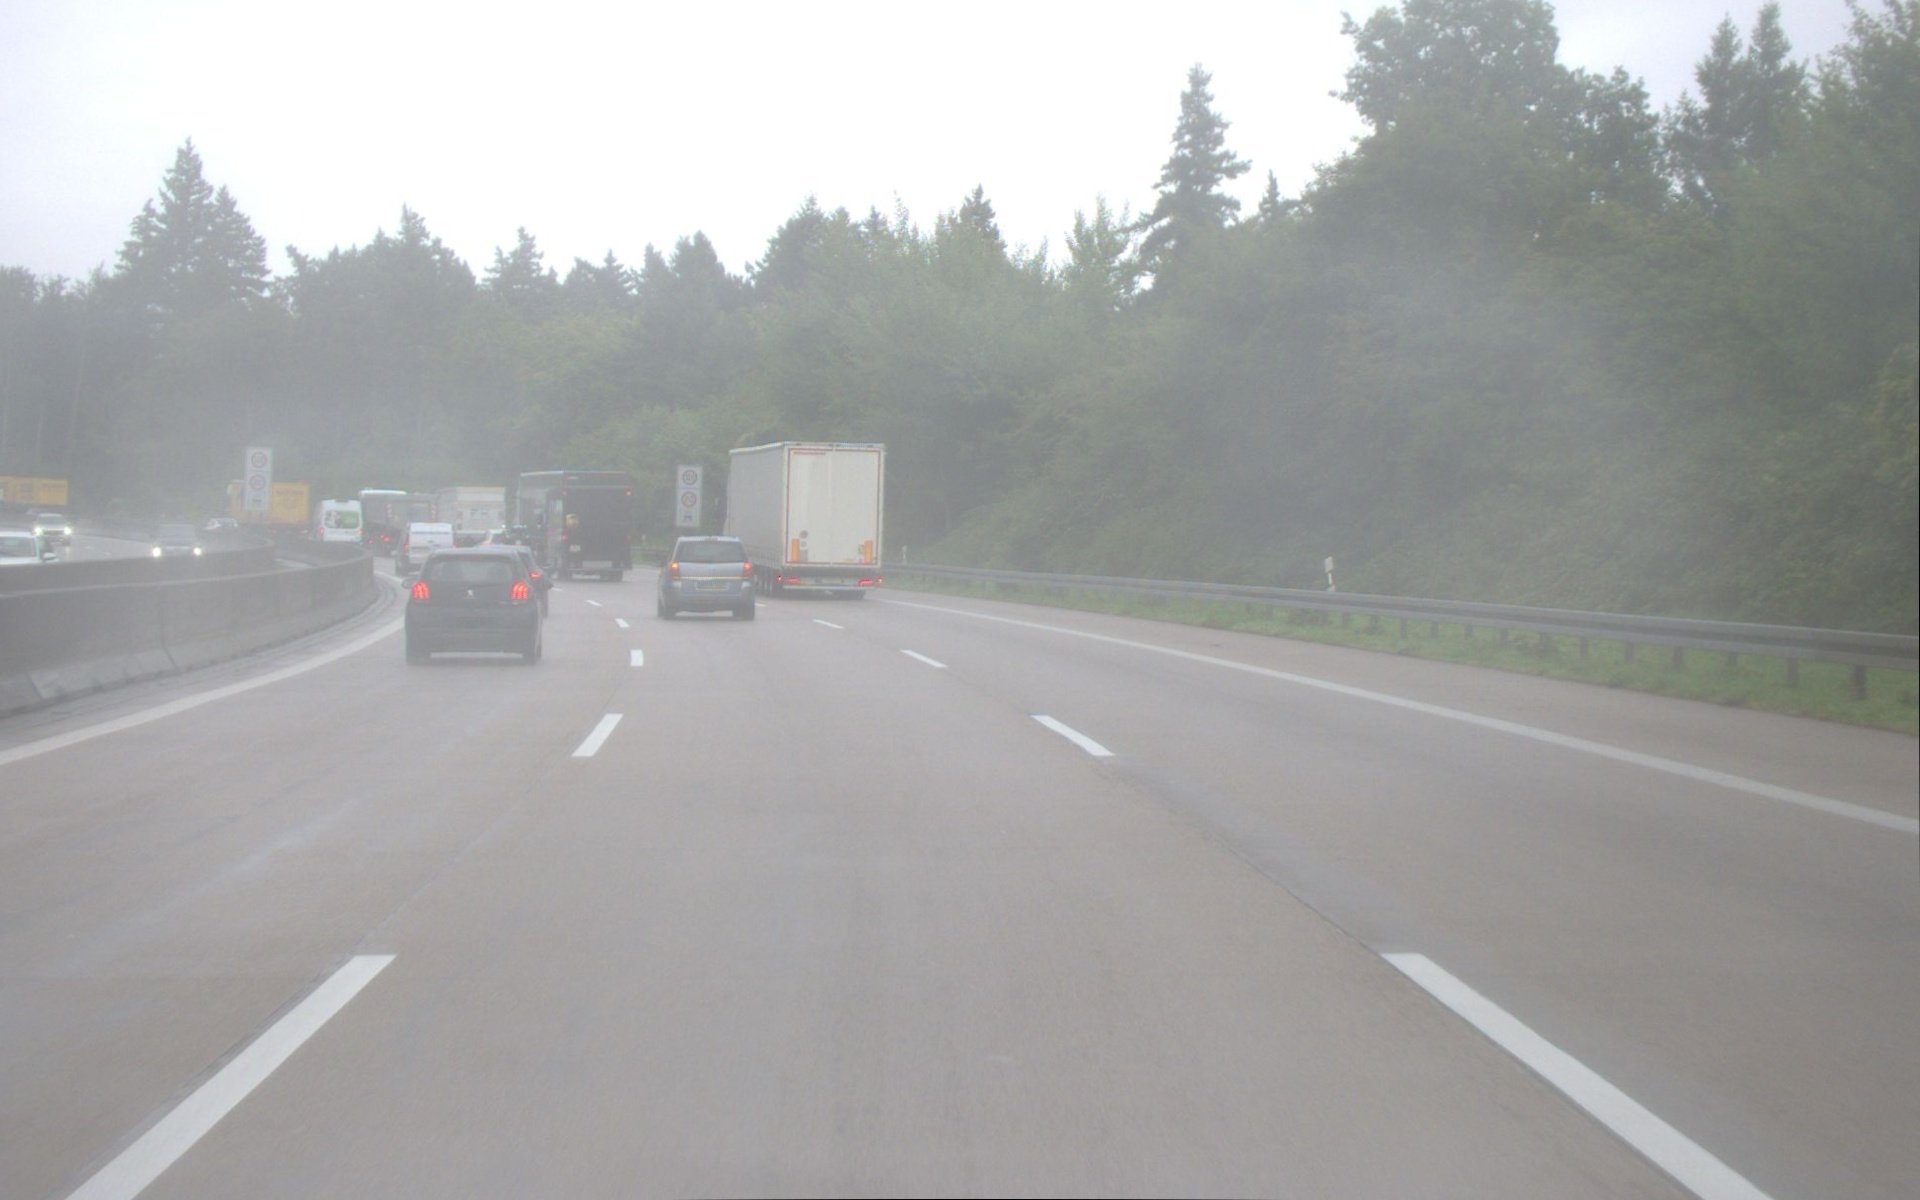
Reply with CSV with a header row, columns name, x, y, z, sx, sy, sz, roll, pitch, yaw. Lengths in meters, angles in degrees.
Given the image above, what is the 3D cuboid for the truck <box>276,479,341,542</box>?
name,x,y,z,sx,sy,sz,roll,pitch,yaw
truck,-44.113,-6.045,232.728,3.739,4.195,6.820,0,1,-16

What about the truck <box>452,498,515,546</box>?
name,x,y,z,sx,sy,sz,roll,pitch,yaw
truck,-24.686,-4.050,177.854,2.973,2.301,6.669,3,1,-9

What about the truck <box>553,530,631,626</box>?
name,x,y,z,sx,sy,sz,roll,pitch,yaw
truck,-12.231,-0.774,114.761,2.269,2.877,7.905,1,2,-4

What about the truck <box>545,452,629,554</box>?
name,x,y,z,sx,sy,sz,roll,pitch,yaw
truck,-15.978,-4.137,146.662,3.368,4.117,10.440,1,2,-7

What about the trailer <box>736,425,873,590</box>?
name,x,y,z,sx,sy,sz,roll,pitch,yaw
trailer,-4.250,-2.480,91.530,2.419,4.054,12.058,1,2,-8

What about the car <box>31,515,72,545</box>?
name,x,y,z,sx,sy,sz,roll,pitch,yaw
car,-47.764,-3.701,180.842,1.730,1.570,4.245,0,1,-10

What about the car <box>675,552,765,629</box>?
name,x,y,z,sx,sy,sz,roll,pitch,yaw
car,-4.626,-0.206,66.586,1.553,1.347,3.684,3,1,-2

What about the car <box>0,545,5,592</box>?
name,x,y,z,sx,sy,sz,roll,pitch,yaw
car,-31.708,-0.987,109.655,1.730,1.488,4.001,0,1,-6

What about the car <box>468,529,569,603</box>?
name,x,y,z,sx,sy,sz,roll,pitch,yaw
car,-8.642,-0.687,67.496,1.553,1.347,3.684,3,1,-2

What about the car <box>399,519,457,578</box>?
name,x,y,z,sx,sy,sz,roll,pitch,yaw
car,-18.375,-1.779,118.873,1.725,2.007,3.657,0,1,-5

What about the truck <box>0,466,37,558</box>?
name,x,y,z,sx,sy,sz,roll,pitch,yaw
truck,-41.933,-3.811,149.267,2.906,3.875,7.367,1,1,-10

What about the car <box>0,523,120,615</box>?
name,x,y,z,sx,sy,sz,roll,pitch,yaw
car,-16.578,-0.578,61.906,1.993,1.579,4.773,0,1,-3

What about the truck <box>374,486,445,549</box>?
name,x,y,z,sx,sy,sz,roll,pitch,yaw
truck,-27.329,-4.138,170.370,3.081,2.895,7.906,1,2,-11

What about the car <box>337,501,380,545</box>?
name,x,y,z,sx,sy,sz,roll,pitch,yaw
car,-28.597,-3.641,163.571,1.993,2.052,4.001,0,1,-9

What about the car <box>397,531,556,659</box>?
name,x,y,z,sx,sy,sz,roll,pitch,yaw
car,-6.062,-0.097,43.409,1.683,1.457,3.684,3,1,-4

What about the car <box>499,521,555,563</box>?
name,x,y,z,sx,sy,sz,roll,pitch,yaw
car,-16.396,-2.216,130.333,1.881,1.468,4.001,3,1,-5
